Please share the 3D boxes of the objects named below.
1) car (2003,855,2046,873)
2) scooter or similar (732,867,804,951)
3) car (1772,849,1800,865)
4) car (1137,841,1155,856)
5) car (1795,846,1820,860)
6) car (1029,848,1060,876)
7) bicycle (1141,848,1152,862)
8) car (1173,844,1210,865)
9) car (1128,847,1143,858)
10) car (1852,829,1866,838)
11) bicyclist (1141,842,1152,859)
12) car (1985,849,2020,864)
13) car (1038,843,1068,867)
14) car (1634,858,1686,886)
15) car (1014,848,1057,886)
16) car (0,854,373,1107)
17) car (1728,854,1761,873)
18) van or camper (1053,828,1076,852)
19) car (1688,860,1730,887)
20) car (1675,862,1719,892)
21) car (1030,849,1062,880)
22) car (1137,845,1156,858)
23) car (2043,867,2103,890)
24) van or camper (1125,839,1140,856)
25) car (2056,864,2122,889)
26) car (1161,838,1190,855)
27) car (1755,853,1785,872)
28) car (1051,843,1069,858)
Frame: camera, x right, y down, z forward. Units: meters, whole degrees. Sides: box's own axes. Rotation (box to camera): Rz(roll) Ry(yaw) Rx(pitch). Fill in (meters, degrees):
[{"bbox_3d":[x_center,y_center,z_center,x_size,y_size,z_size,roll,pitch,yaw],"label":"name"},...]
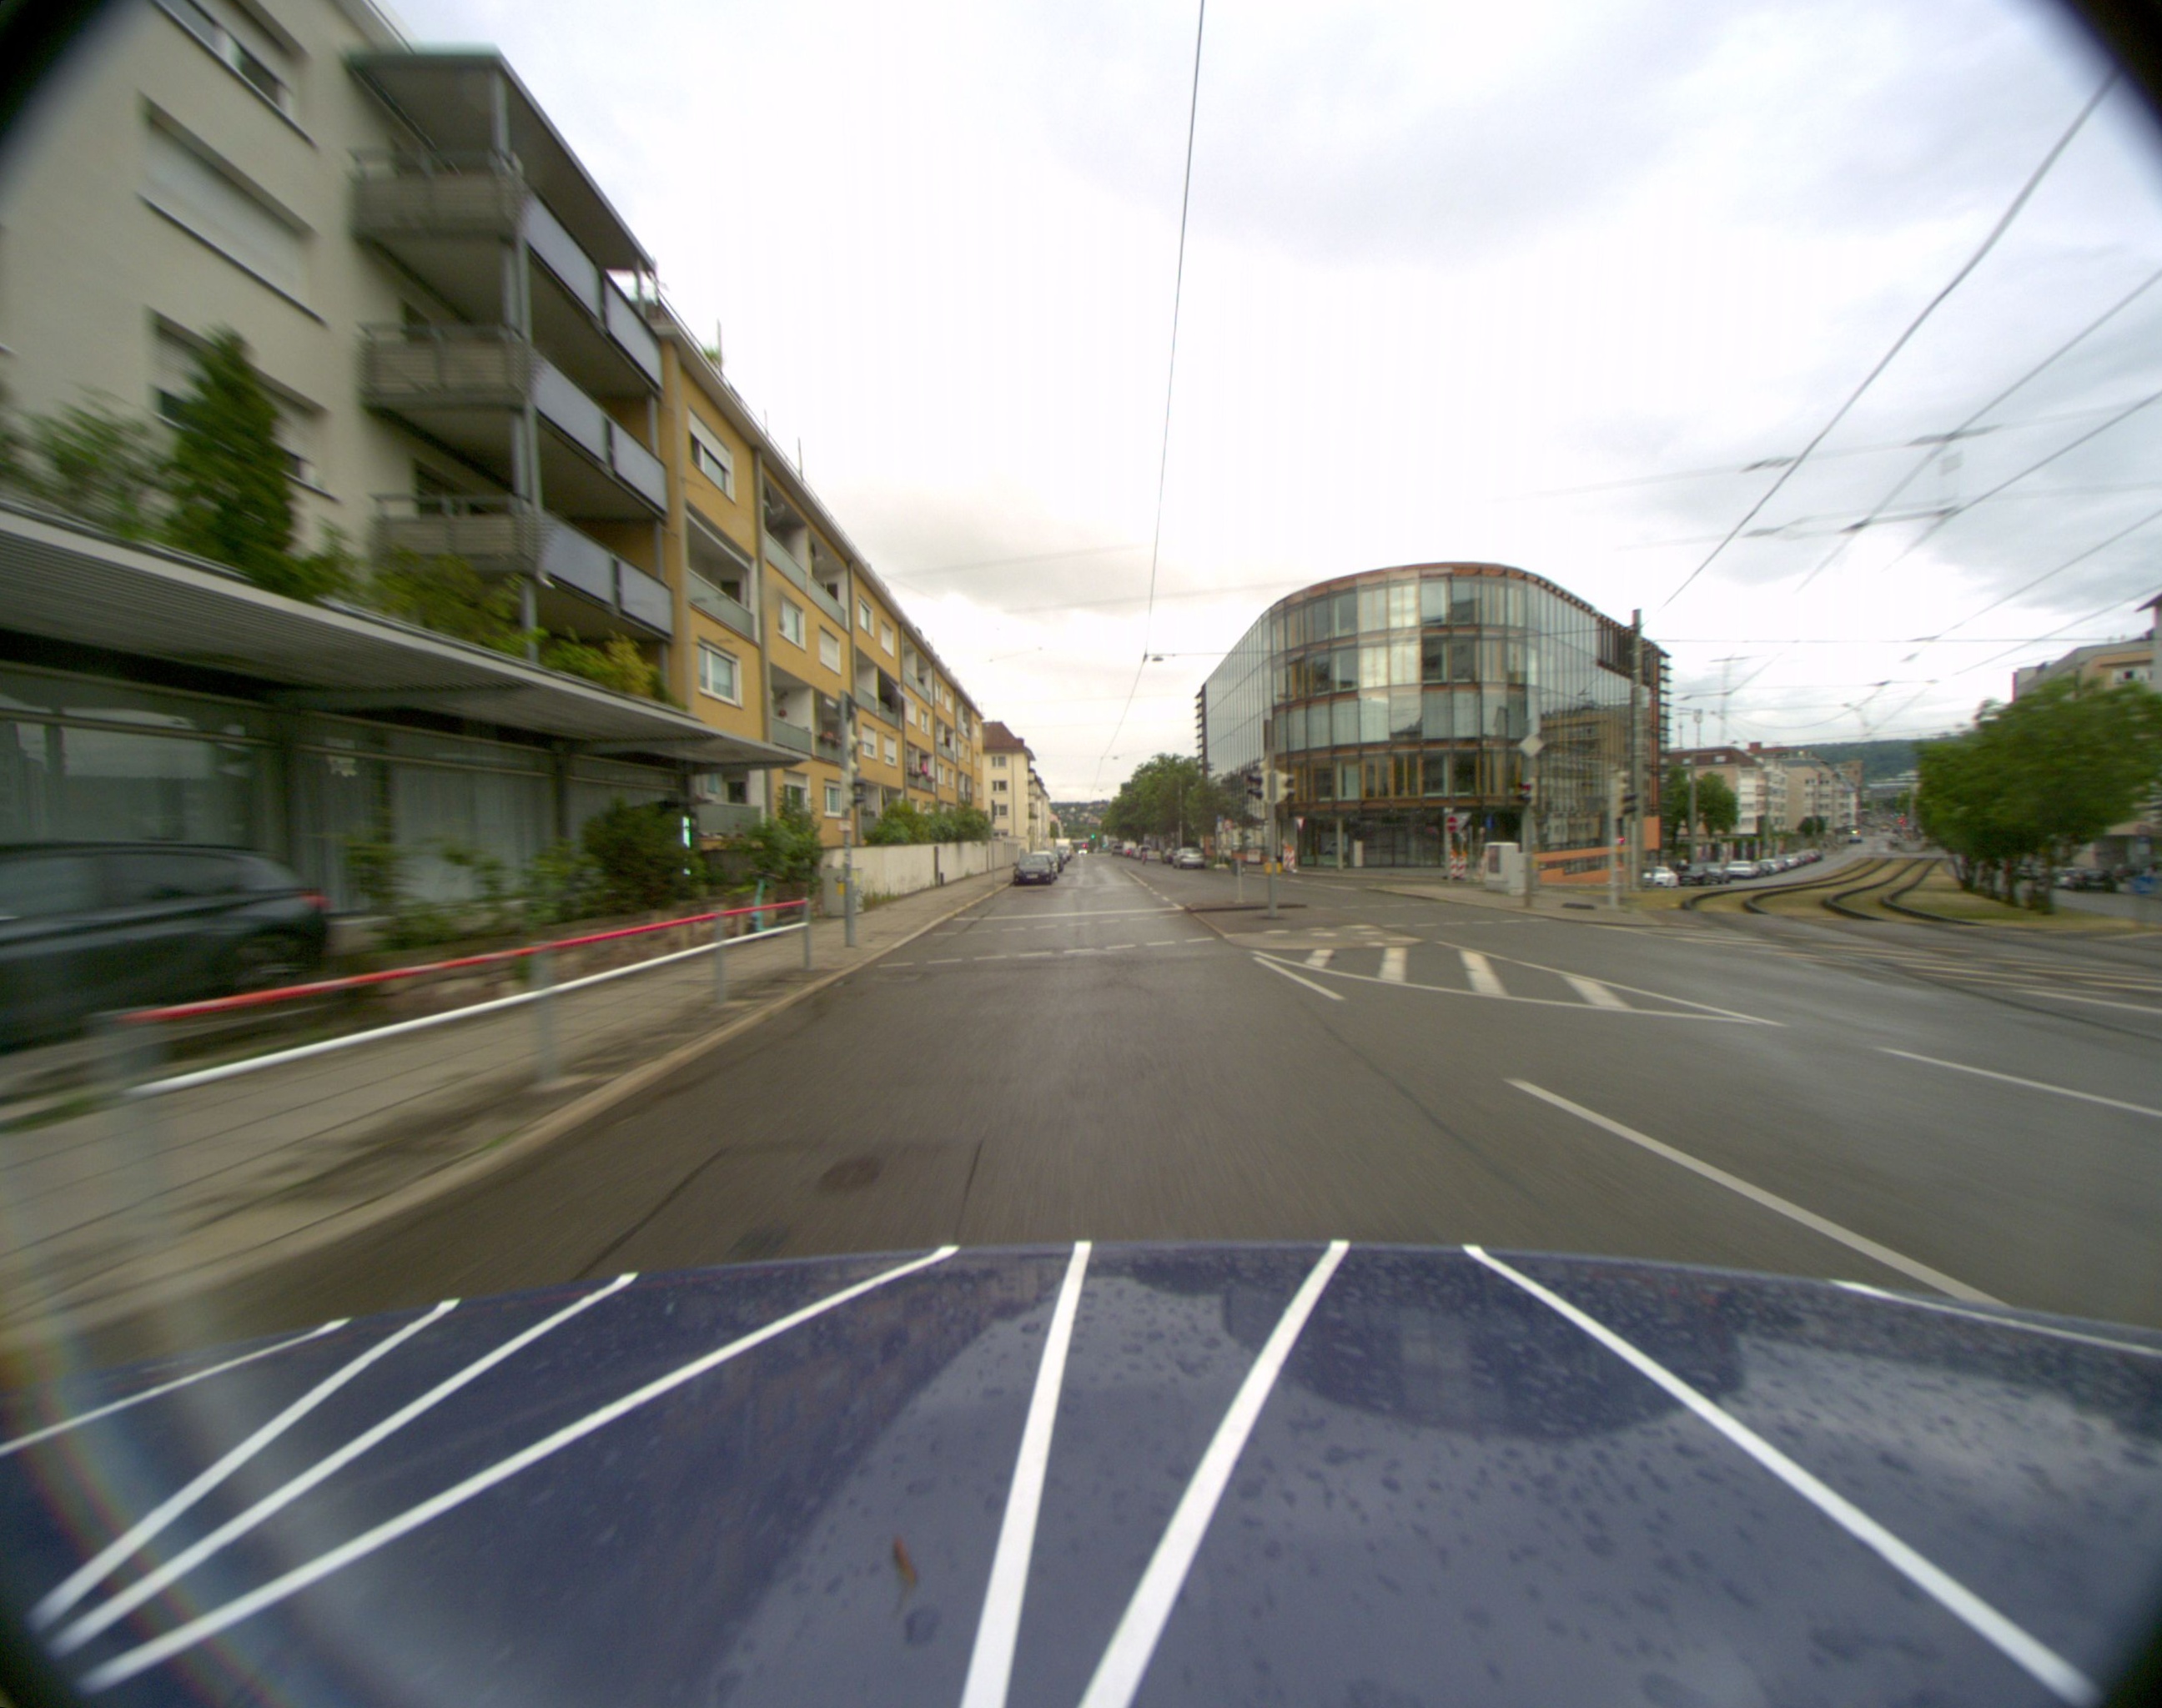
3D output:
[{"bbox_3d":[83.745,0.909,67.480,4.322,1.498,1.994,2,-2,-44],"label":"car"},{"bbox_3d":[-5.526,0.932,13.509,0.536,1.320,1.658,3,2,1],"label":"scooter or similar"},{"bbox_3d":[80.935,0.359,87.175,4.008,1.740,1.912,-1,1,-41],"label":"car"},{"bbox_3d":[8.401,-0.722,98.495,1.881,1.700,3.997,-2,2,-3],"label":"car"},{"bbox_3d":[93.306,-0.089,97.564,4.009,1.739,1.912,1,0,-41],"label":"car"},{"bbox_3d":[-2.243,0.472,47.601,1.690,1.445,3.552,-3,3,0],"label":"car"},{"bbox_3d":[5.817,0.084,67.552,0.826,1.142,2.126,-2,3,0],"label":"bicycle"},{"bbox_3d":[7.709,0.016,53.469,1.863,1.387,4.643,-1,1,-1],"label":"car"},{"bbox_3d":[8.572,-0.284,119.096,1.999,1.566,3.998,-3,3,-1],"label":"car"},{"bbox_3d":[167.308,-4.488,163.380,4.006,1.740,1.912,-5,4,-41],"label":"car"},{"bbox_3d":[5.812,-0.301,67.553,0.826,1.454,1.139,-3,3,0],"label":"bicyclist"},{"bbox_3d":[98.093,0.312,80.933,4.322,1.498,1.994,2,-2,-44],"label":"car"},{"bbox_3d":[-1.937,0.019,53.262,1.916,1.418,4.449,-3,2,0],"label":"car"},{"bbox_3d":[37.475,1.140,49.134,4.006,1.488,1.912,-5,3,-41],"label":"car"},{"bbox_3d":[-2.112,0.566,36.291,1.734,1.452,4.476,-3,2,0],"label":"car"},{"bbox_3d":[-7.544,0.783,4.855,1.858,1.494,4.449,1,0,1],"label":"car"},{"bbox_3d":[60.662,0.843,69.446,4.006,1.501,1.784,-5,3,-41],"label":"car"},{"bbox_3d":[-2.196,-1.947,104.284,2.754,3.041,7.027,-2,3,1],"label":"van or camper"},{"bbox_3d":[49.765,1.526,60.184,4.006,1.740,1.912,-5,4,-41],"label":"car"},{"bbox_3d":[45.706,1.671,56.350,4.006,1.883,1.912,-5,4,-41],"label":"car"},{"bbox_3d":[-1.907,0.548,42.012,1.652,1.452,4.099,-3,3,-2],"label":"car"},{"bbox_3d":[8.014,-0.324,93.199,1.881,1.390,3.997,-2,2,-3],"label":"car"},{"bbox_3d":[67.371,1.656,51.682,4.322,1.498,1.994,2,-2,-44],"label":"car"},{"bbox_3d":[8.428,-1.142,124.943,2.143,2.588,5.548,-3,3,1],"label":"van or camper"},{"bbox_3d":[63.206,1.436,47.722,4.322,1.498,1.994,2,-2,-44],"label":"car"},{"bbox_3d":[8.541,-0.669,68.891,1.727,1.456,4.328,-1,1,-4],"label":"car"},{"bbox_3d":[72.367,0.873,79.796,4.006,1.740,1.912,-5,4,-41],"label":"car"},{"bbox_3d":[-2.198,-0.369,79.450,1.740,1.371,3.836,-2,3,0],"label":"car"}]
